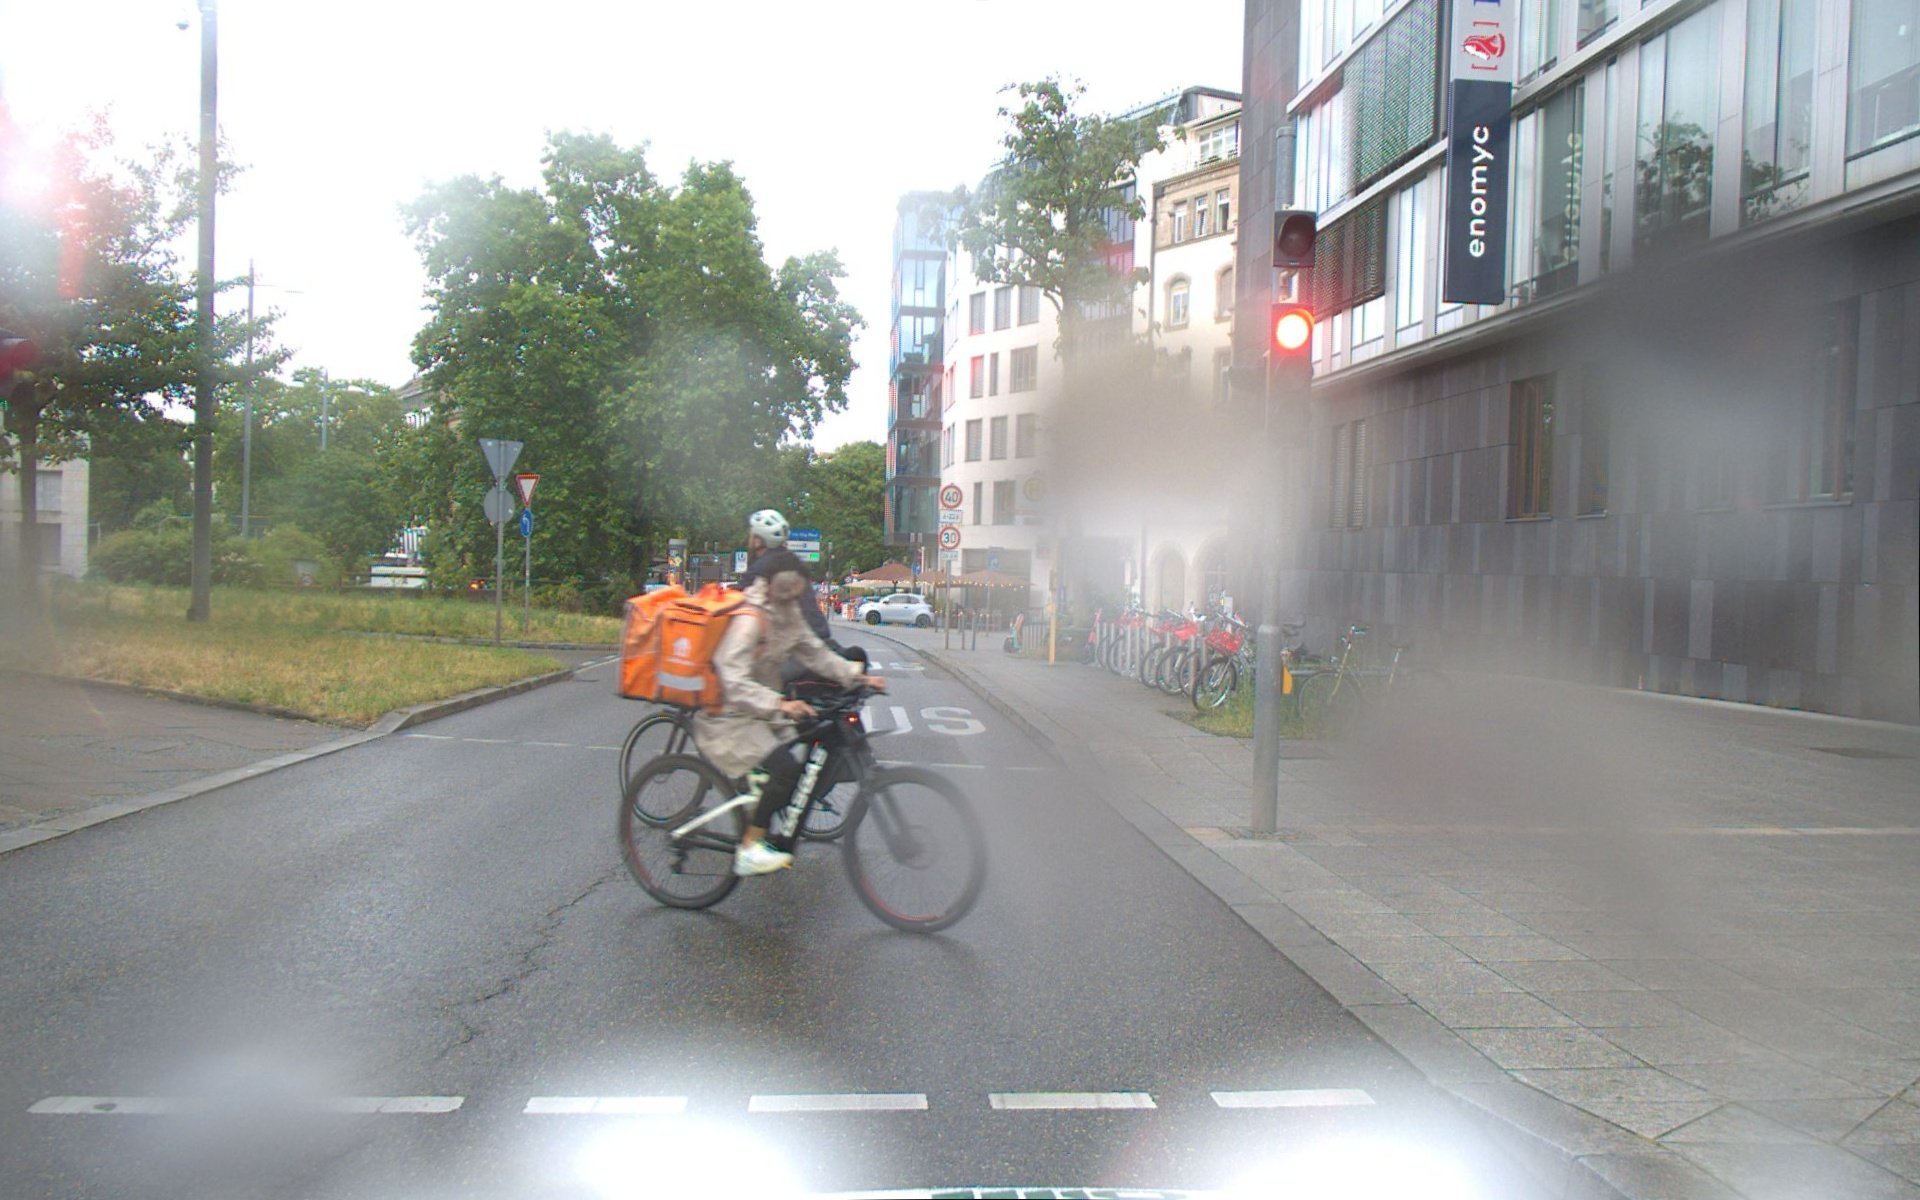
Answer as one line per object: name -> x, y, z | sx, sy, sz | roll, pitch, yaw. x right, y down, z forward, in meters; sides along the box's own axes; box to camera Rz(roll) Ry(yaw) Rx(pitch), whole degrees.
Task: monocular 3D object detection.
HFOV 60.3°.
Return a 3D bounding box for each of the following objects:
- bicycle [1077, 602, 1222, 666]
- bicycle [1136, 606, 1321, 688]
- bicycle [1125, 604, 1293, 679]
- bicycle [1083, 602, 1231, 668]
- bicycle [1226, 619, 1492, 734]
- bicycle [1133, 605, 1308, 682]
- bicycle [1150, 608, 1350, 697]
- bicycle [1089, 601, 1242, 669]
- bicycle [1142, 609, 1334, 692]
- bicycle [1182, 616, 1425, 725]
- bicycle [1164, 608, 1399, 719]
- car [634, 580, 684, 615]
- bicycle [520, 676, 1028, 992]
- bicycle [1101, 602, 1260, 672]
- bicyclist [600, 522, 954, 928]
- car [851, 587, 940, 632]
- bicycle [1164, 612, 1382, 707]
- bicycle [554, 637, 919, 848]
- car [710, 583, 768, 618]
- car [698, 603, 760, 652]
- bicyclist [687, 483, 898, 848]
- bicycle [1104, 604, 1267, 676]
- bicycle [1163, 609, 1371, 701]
bicycle -> 3.381, 0.607, 29.570 | 2.486, 1.106, 0.627 | 1, 0, -6
bicycle -> 3.797, 0.662, 23.452 | 2.486, 1.106, 0.677 | 1, 0, -6
bicycle -> 3.844, 0.638, 25.627 | 2.486, 1.106, 0.677 | 1, 0, -6
bicycle -> 3.427, 0.601, 28.849 | 2.486, 1.106, 0.677 | 1, 0, -6
bicycle -> 3.968, 0.756, 16.507 | 2.487, 1.075, 0.677 | 1, 0, -6
bicycle -> 3.870, 0.644, 24.650 | 2.486, 1.106, 0.677 | 1, 0, -6
bicycle -> 3.790, 0.682, 21.676 | 2.486, 1.106, 0.677 | 1, 0, -6
bicycle -> 3.484, 0.593, 28.102 | 2.486, 1.106, 0.677 | 1, 0, -6
bicycle -> 3.782, 0.681, 22.543 | 2.486, 1.078, 0.677 | 1, 0, -6
bicycle -> 3.722, 0.758, 17.981 | 2.487, 1.106, 0.677 | 1, 0, -6
bicycle -> 3.635, 0.713, 18.783 | 2.487, 1.106, 0.677 | 3, 0, -6
car -> -15.659, -0.156, 86.005 | 1.916, 1.675, 4.222 | 2, 0, -19
bicycle -> -0.840, 0.963, 7.438 | 2.021, 1.133, 1.010 | 2, -1, 28
bicycle -> 3.619, 0.610, 27.216 | 2.486, 1.106, 0.677 | 1, 0, -6
bicyclist -> -0.802, 0.511, 7.427 | 1.111, 1.609, 1.013 | 4, 0, 28
car -> -2.989, 0.423, 76.433 | 3.910, 1.675, 1.999 | 6, 0, -4
bicycle -> 3.773, 0.713, 20.011 | 2.486, 1.106, 0.677 | 1, 0, -6
bicycle -> -1.365, 0.840, 10.195 | 2.080, 1.165, 0.763 | 1, 0, 14
car -> -11.530, 0.007, 85.982 | 2.147, 1.730, 3.976 | 2, 0, -21
car -> -9.114, 1.057, 65.045 | 2.123, 1.735, 4.542 | 2, 0, -11
bicyclist -> -1.010, 0.373, 10.101 | 1.058, 2.119, 0.763 | 1, 0, 14
bicycle -> 3.596, 0.629, 26.463 | 2.486, 1.106, 0.677 | 1, 0, -6
bicycle -> 3.857, 0.691, 20.867 | 2.486, 1.106, 0.677 | 1, 0, -6
